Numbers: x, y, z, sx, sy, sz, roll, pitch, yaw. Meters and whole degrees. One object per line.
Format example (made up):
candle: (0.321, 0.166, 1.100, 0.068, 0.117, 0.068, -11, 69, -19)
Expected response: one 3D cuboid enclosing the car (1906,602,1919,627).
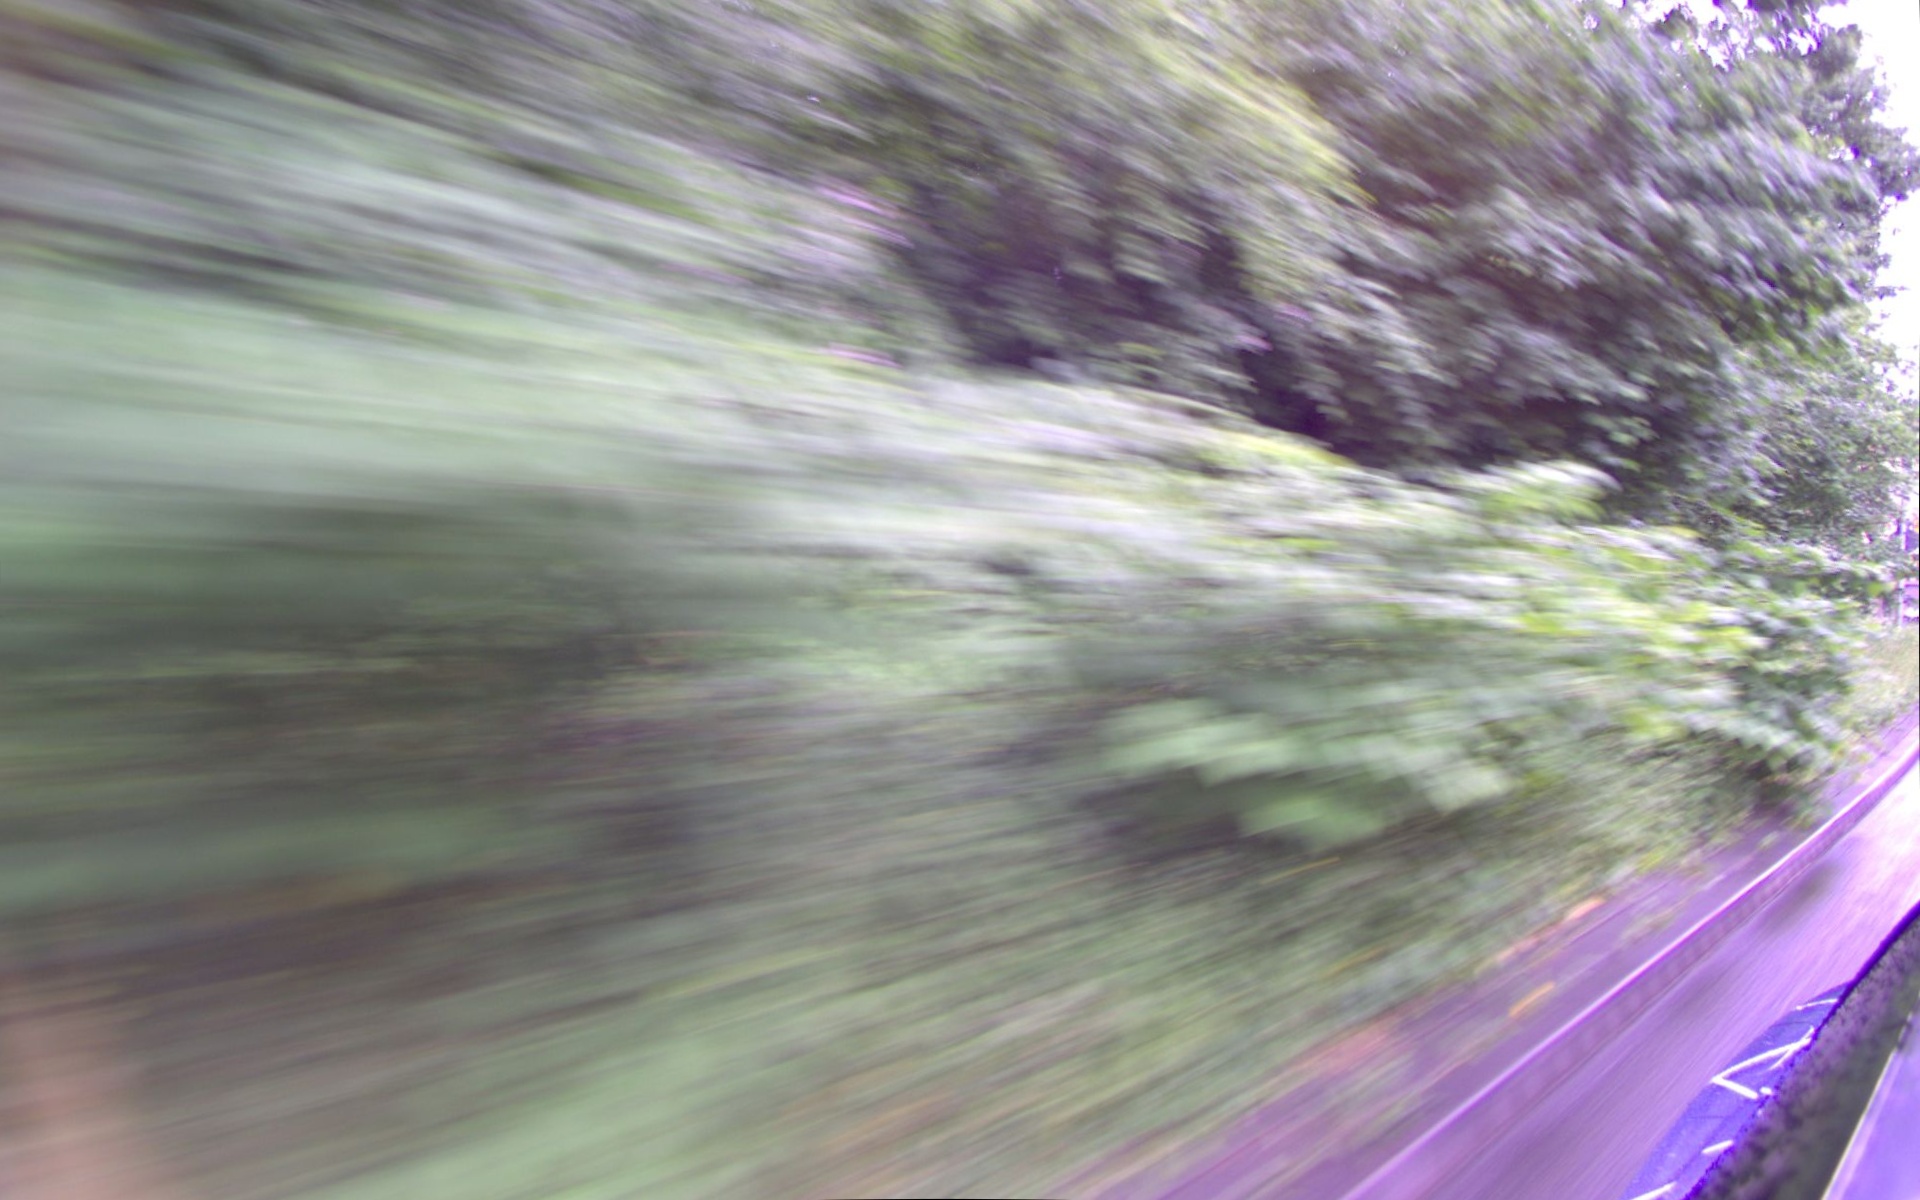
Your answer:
car: (56.074, 0.883, 57.774, 1.780, 1.424, 4.580, 3, 2, 28)
